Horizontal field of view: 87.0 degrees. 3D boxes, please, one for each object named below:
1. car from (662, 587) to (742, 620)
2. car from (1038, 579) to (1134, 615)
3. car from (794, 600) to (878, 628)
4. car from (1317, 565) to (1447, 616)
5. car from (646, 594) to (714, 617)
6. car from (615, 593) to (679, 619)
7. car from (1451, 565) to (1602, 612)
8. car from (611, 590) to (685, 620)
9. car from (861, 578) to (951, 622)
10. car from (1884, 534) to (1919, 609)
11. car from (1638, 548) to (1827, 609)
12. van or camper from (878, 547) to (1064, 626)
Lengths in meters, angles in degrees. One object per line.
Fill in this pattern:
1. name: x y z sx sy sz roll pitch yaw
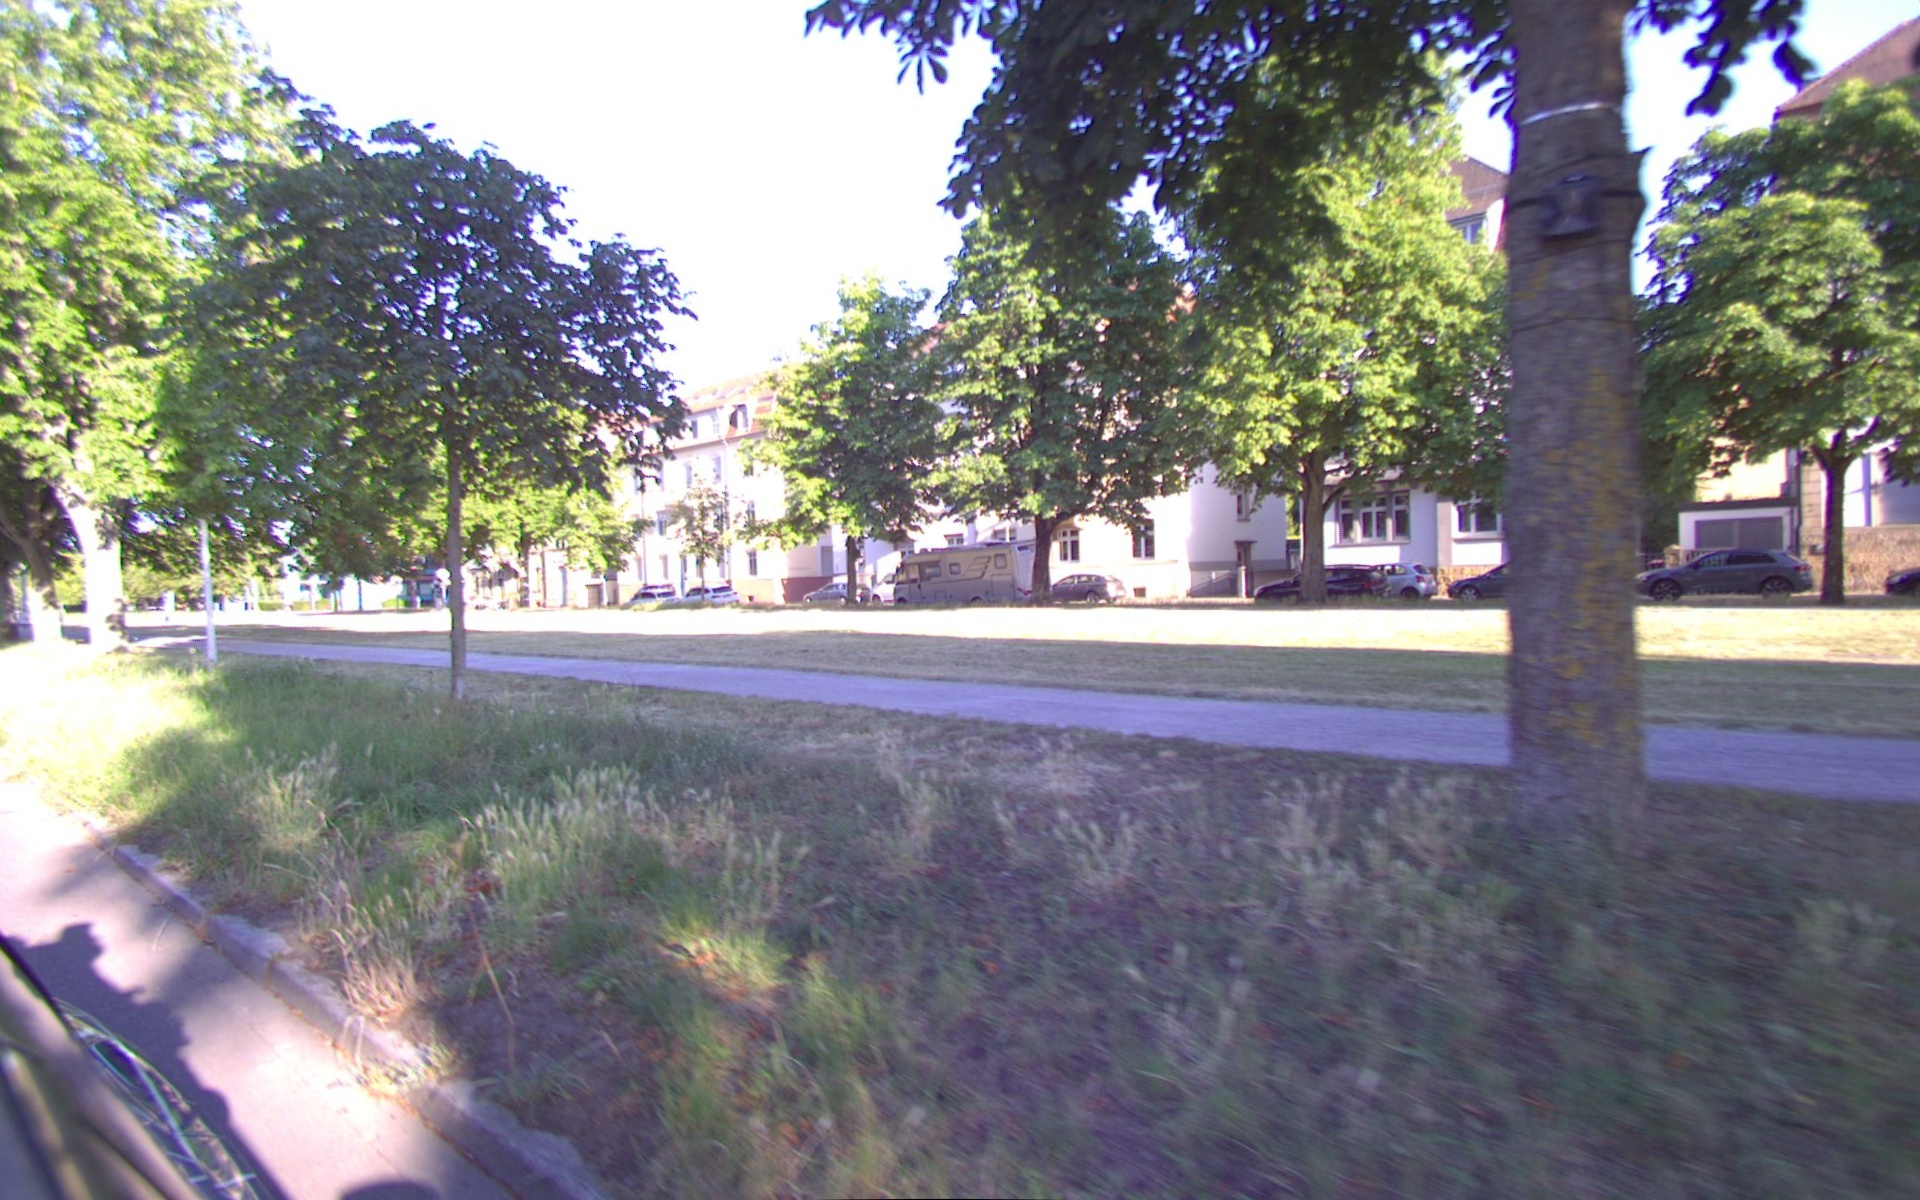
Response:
1. car: -14.559 0.207 56.998 4.874 1.703 1.972 -1 1 42
2. car: 5.797 -0.121 46.759 3.998 1.475 1.973 -2 1 41
3. car: -7.146 0.831 57.943 4.871 1.465 1.974 -1 1 40
4. car: 15.672 -0.343 37.698 4.000 1.748 1.972 -2 1 43
5. car: -19.017 0.385 68.613 4.871 1.465 1.974 -1 1 39
6. car: -22.224 0.462 71.836 4.871 1.703 1.974 -1 1 39
7. car: 19.445 -0.376 34.854 4.169 1.440 1.972 -2 1 43
8. car: -18.732 0.309 60.612 4.874 1.703 1.972 -1 1 42
9. car: -2.961 0.030 54.466 4.876 2.219 1.972 -1 1 43
10. car: 27.755 -0.839 27.025 4.426 2.029 1.973 -1 1 40
11. car: 23.433 -0.614 30.797 4.426 1.665 1.973 -1 1 40
12. van or camper: 0.355 -0.510 44.038 7.894 3.134 3.220 -1 1 42
